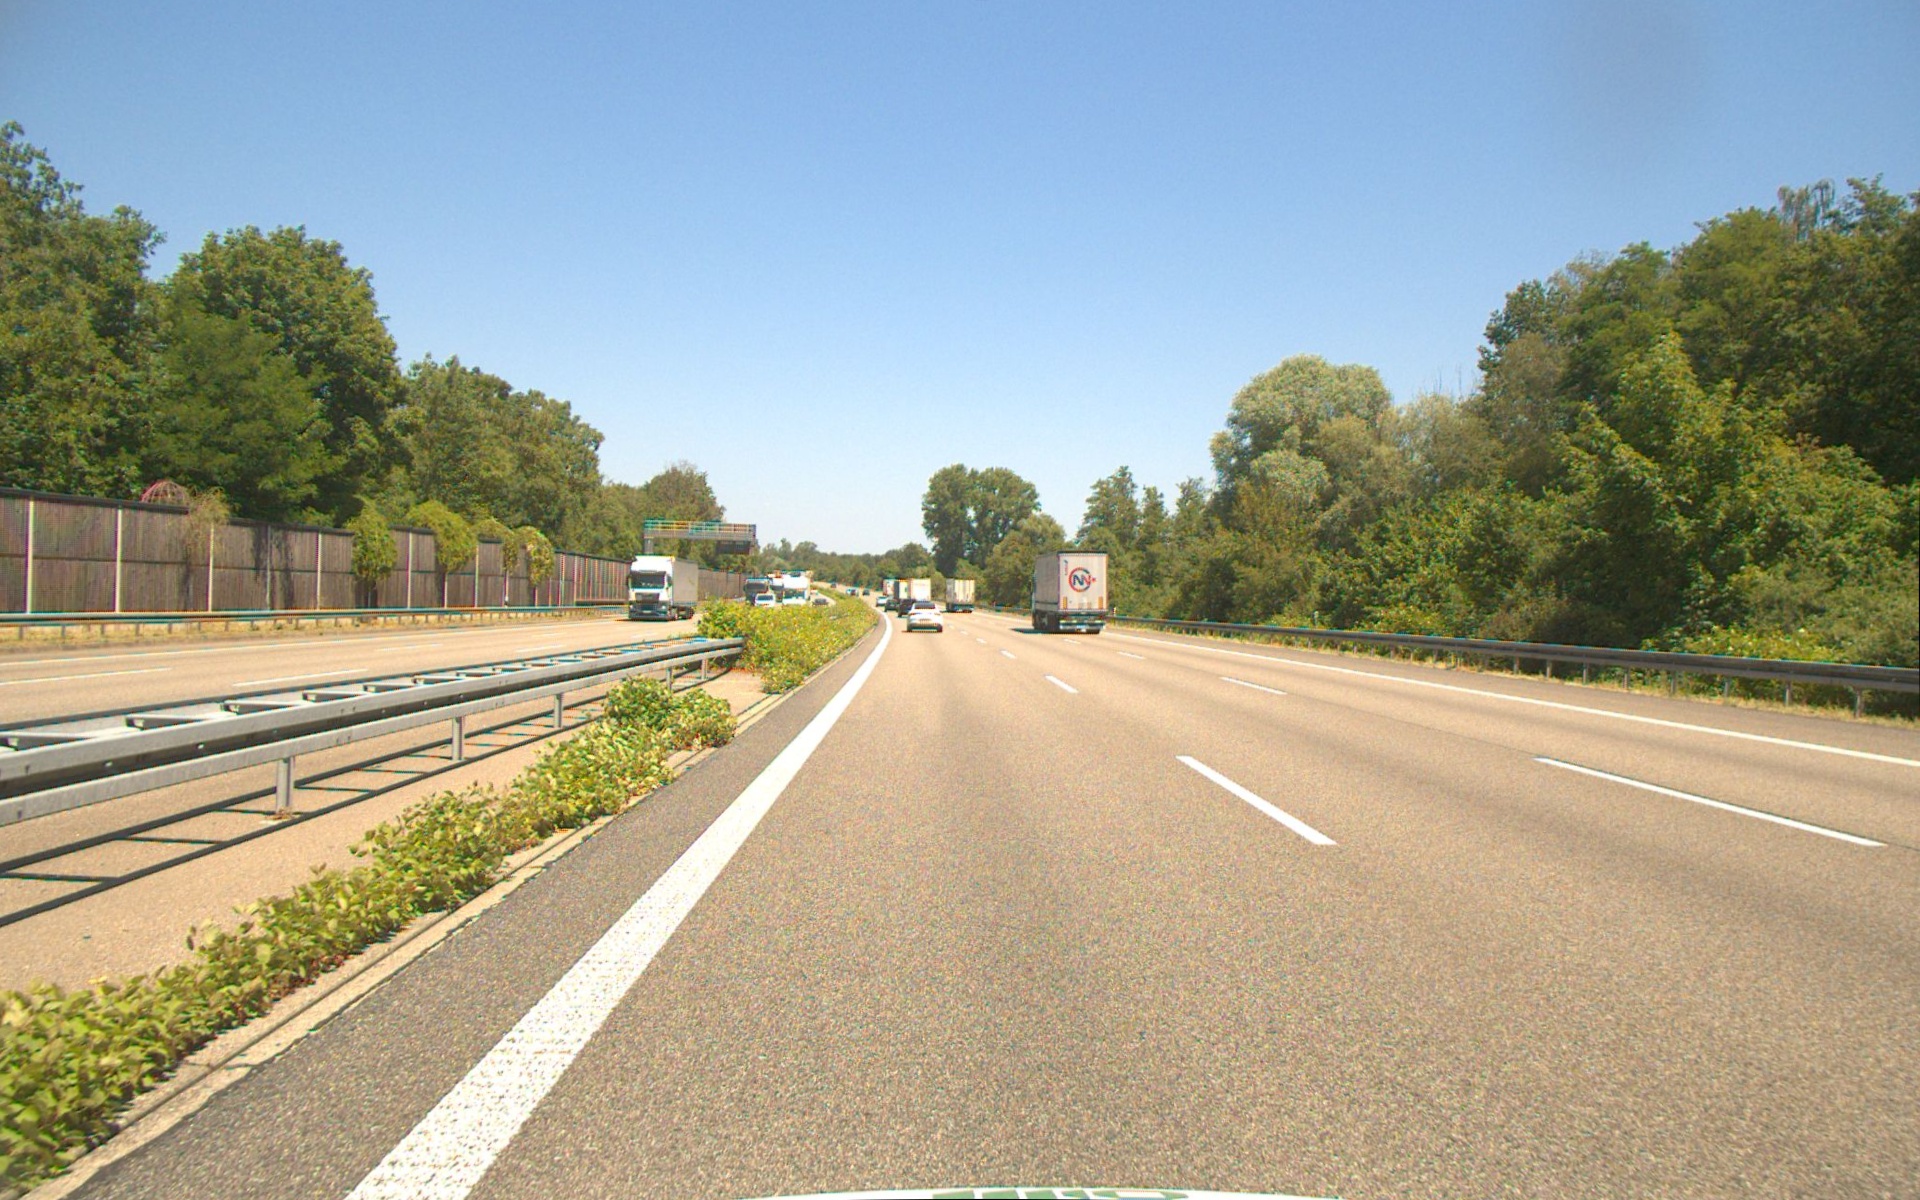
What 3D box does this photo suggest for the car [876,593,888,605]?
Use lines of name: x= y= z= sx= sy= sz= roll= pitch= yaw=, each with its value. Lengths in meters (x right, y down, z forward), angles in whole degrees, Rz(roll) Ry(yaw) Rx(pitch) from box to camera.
car: x=-11.787 y=-0.162 z=249.258 sx=1.690 sy=1.814 sz=3.995 roll=1 pitch=0 yaw=-6

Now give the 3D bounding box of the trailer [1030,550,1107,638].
trailer: x=5.690 y=-0.323 z=89.118 sx=2.571 sy=4.335 sz=14.053 roll=1 pitch=0 yaw=-2

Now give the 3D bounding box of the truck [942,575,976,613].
truck: x=-0.136 y=-0.700 z=200.777 sx=3.423 sy=4.386 sz=10.980 roll=1 pitch=0 yaw=-4

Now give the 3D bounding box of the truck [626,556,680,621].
truck: x=-19.599 y=-0.722 z=105.864 sx=2.633 sy=3.963 sz=5.570 roll=1 pitch=0 yaw=-3

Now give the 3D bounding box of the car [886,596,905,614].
car: x=-7.637 y=0.588 z=196.295 sx=1.955 sy=2.049 sz=3.995 roll=1 pitch=0 yaw=-6

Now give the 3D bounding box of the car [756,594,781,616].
car: x=-16.999 y=0.445 z=146.803 sx=1.830 sy=1.852 sz=4.814 roll=1 pitch=0 yaw=-2

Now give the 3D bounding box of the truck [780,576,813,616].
truck: x=-13.423 y=-0.337 z=136.374 sx=2.149 sy=3.169 sz=8.530 roll=1 pitch=0 yaw=-2

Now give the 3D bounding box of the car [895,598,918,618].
car: x=-4.925 y=0.702 z=152.607 sx=1.954 sy=1.803 sz=3.997 roll=1 pitch=0 yaw=-4

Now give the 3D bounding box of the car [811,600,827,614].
car: x=-15.308 y=0.761 z=179.395 sx=1.593 sy=1.414 sz=3.911 roll=1 pitch=0 yaw=-3

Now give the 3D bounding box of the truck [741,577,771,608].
truck: x=-24.949 y=-0.865 z=202.635 sx=2.813 sy=3.668 sz=9.946 roll=1 pitch=0 yaw=-3

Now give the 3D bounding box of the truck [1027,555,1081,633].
truck: x=5.410 y=-0.356 z=95.715 sx=2.554 sy=4.362 sz=5.433 roll=1 pitch=0 yaw=-3

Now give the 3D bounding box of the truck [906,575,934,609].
truck: x=-5.348 y=-1.071 z=220.068 sx=3.293 sy=4.386 sz=10.821 roll=1 pitch=0 yaw=-3

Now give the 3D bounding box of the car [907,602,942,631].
car: x=-1.788 y=0.830 z=84.294 sx=1.680 sy=1.393 sz=3.374 roll=1 pitch=0 yaw=0
